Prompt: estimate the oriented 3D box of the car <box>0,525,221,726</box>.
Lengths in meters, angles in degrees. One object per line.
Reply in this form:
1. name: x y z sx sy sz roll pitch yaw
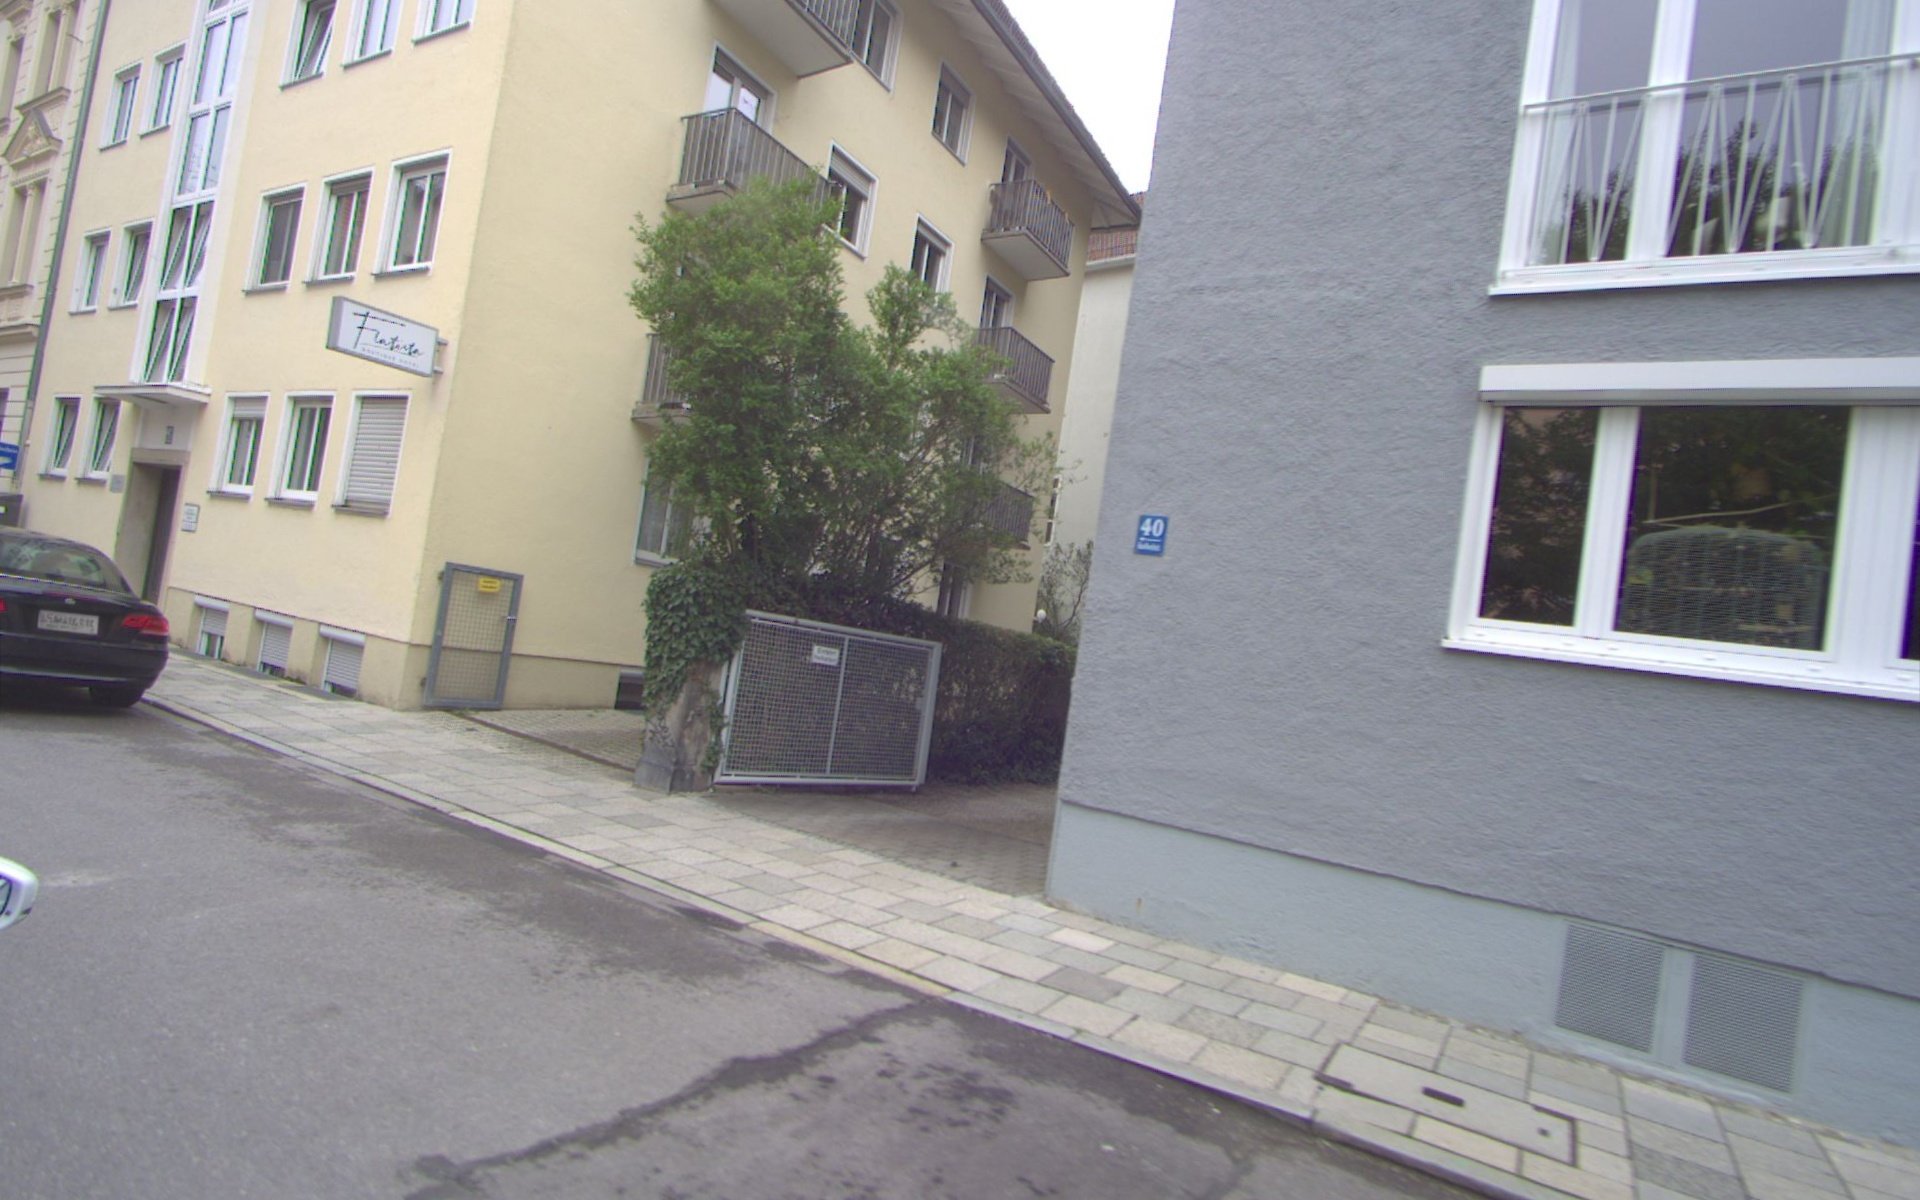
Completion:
1. car: -8.724 -0.007 8.889 4.434 1.346 1.834 7 -7 32
